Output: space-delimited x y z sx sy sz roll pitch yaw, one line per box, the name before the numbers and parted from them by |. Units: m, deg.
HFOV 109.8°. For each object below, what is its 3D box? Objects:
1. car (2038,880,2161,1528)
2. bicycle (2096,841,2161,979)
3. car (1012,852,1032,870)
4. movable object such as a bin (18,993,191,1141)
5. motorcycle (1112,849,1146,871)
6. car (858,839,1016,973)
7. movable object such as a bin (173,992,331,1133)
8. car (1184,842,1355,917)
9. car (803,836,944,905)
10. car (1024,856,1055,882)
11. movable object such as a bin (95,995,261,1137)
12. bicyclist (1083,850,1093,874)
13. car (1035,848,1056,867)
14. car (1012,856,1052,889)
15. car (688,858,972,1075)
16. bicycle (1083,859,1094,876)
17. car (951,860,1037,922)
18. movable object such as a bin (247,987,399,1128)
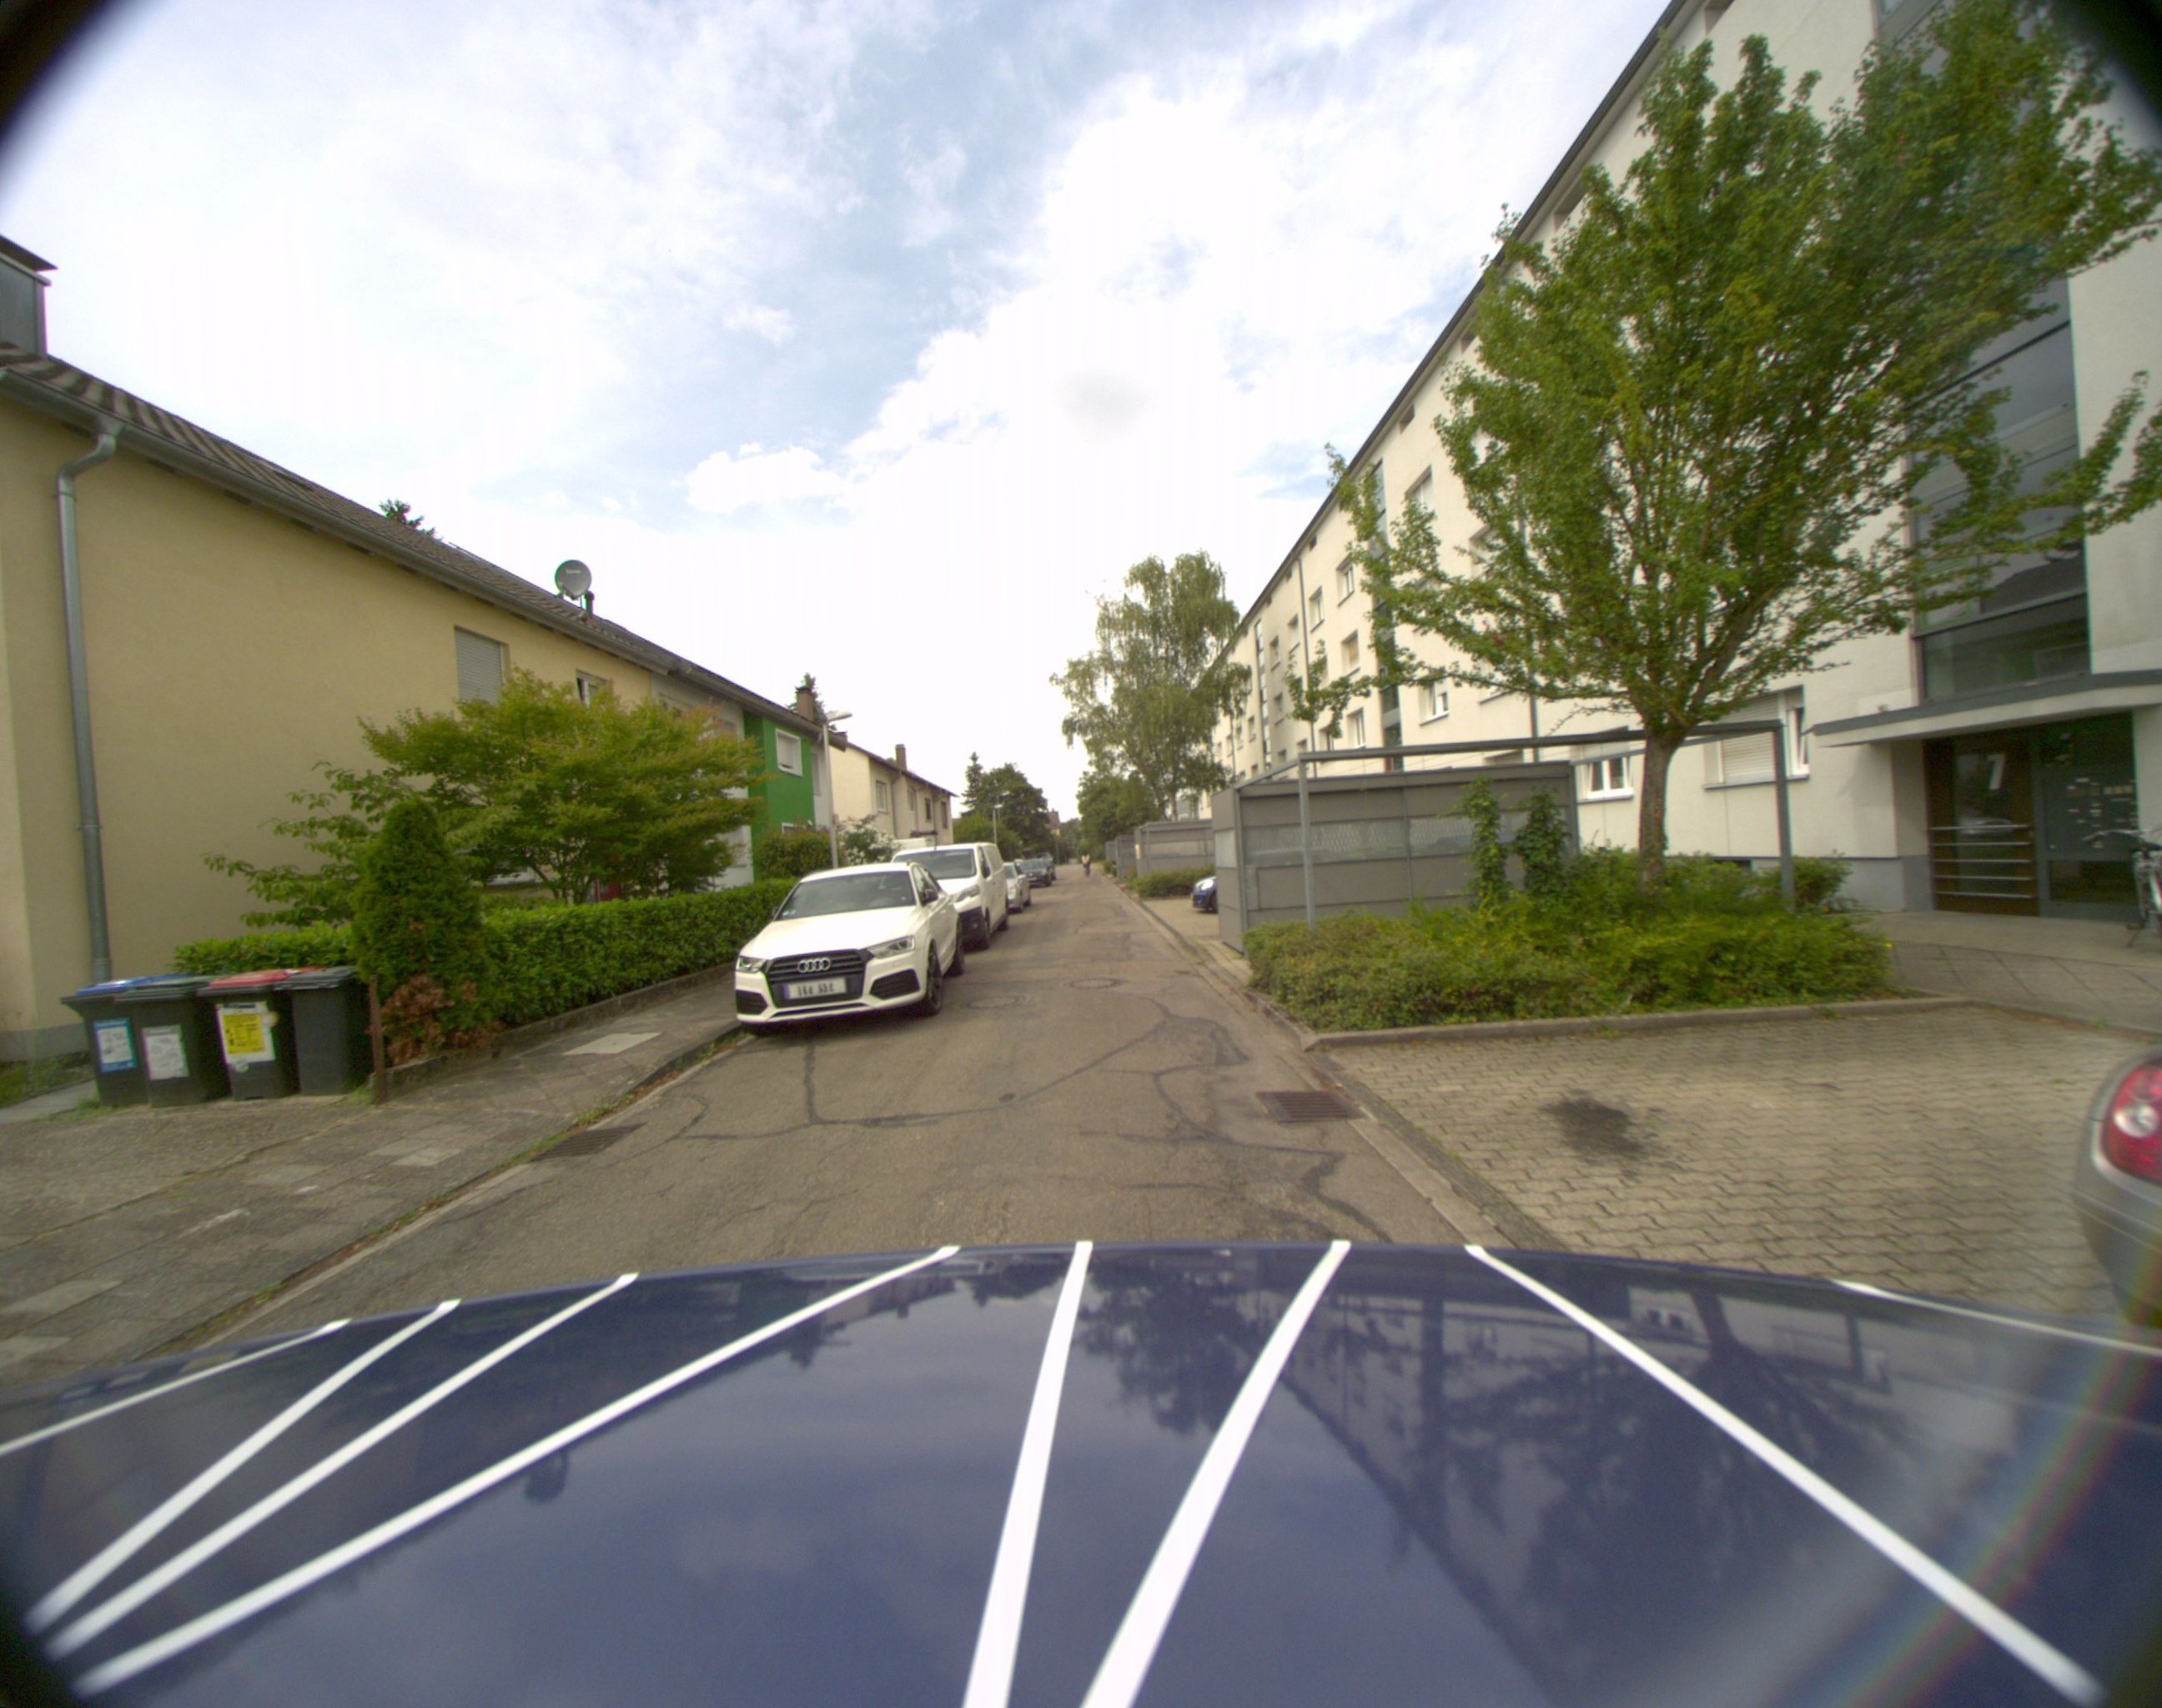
car | 4.280 0.733 1.200 3.572 1.472 1.710 -3 1 -4
bicycle | 9.437 0.447 6.673 1.814 1.018 0.478 -4 1 -40
car | -5.892 0.678 76.151 1.705 1.458 3.998 -4 2 -2
movable object such as a bin | -7.127 1.535 5.567 0.511 0.900 0.523 -4 1 0
motorcycle | 3.420 0.437 54.224 2.383 1.455 0.714 -2 1 0
car | -2.492 0.805 14.610 1.908 1.953 5.252 -5 1 0
movable object such as a bin | -6.052 1.505 5.573 0.511 0.863 0.529 -4 1 0
car | 4.388 0.580 18.093 3.643 1.453 1.653 -4 1 4
car | -8.532 0.649 31.587 5.100 2.527 2.237 -3 1 1
car | -2.674 0.949 49.903 1.834 1.449 4.189 -5 0 -2
movable object such as a bin | -6.585 1.528 5.568 0.511 0.863 0.529 -4 1 0
bicyclist | 0.489 0.501 50.805 0.598 1.572 0.767 -3 1 2
car | -3.487 0.326 75.517 1.926 1.576 3.999 -6 1 -2
car | -2.512 0.940 39.895 1.834 1.449 4.189 -5 0 -2
car | -2.413 0.963 8.526 1.830 1.626 4.160 -5 1 -3
bicycle | 0.508 0.871 50.918 0.598 1.070 2.042 -3 1 2
car | -2.478 1.020 22.611 1.788 1.412 4.455 -5 0 2
movable object such as a bin | -5.527 1.466 5.569 0.511 0.863 0.529 -4 1 0
